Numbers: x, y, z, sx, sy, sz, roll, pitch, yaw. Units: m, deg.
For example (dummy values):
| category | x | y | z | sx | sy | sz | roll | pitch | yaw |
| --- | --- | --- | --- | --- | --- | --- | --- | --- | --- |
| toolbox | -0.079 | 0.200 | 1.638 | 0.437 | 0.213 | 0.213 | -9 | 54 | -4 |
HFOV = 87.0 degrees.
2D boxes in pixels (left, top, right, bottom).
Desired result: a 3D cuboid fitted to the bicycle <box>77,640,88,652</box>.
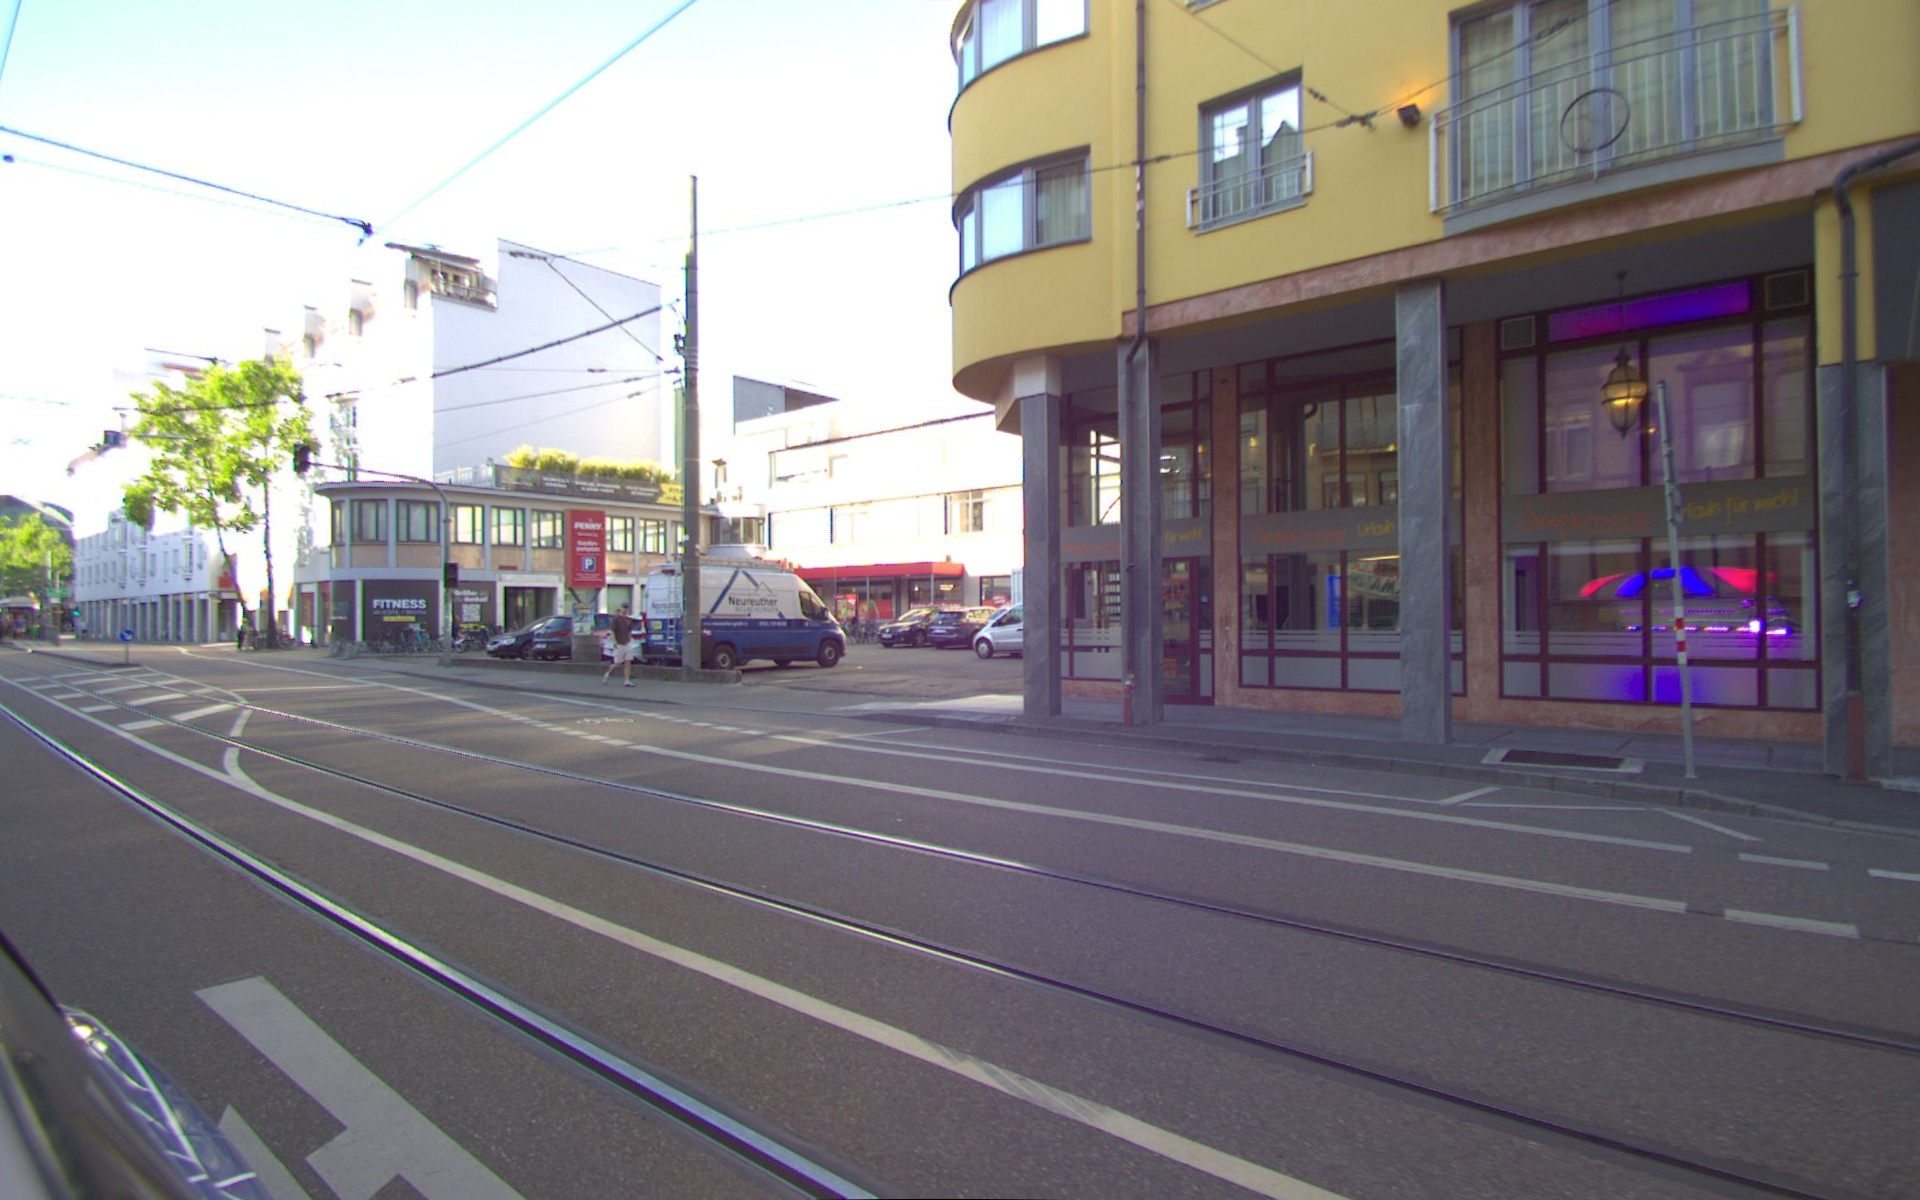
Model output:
| category | x | y | z | sx | sy | sz | roll | pitch | yaw |
| --- | --- | --- | --- | --- | --- | --- | --- | --- | --- |
| bicycle | -76.074 | 3.963 | 87.723 | 1.726 | 0.996 | 0.511 | -1 | 0 | 41 |

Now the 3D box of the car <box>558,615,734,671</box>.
| category | x | y | z | sx | sy | sz | roll | pitch | yaw |
| --- | --- | --- | --- | --- | --- | --- | --- | --- | --- |
| car | -8.947 | 1.203 | 29.127 | 1.878 | 1.487 | 4.541 | -2 | -2 | 40 |

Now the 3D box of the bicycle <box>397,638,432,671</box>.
| category | x | y | z | sx | sy | sz | roll | pitch | yaw |
| --- | --- | --- | --- | --- | --- | --- | --- | --- | --- |
| bicycle | -20.647 | 2.064 | 38.301 | 1.828 | 1.196 | 0.444 | -2 | -2 | 38 |

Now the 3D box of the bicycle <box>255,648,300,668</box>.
| category | x | y | z | sx | sy | sz | roll | pitch | yaw |
| --- | --- | --- | --- | --- | --- | --- | --- | --- | --- |
| bicycle | -34.799 | 2.938 | 51.620 | 1.824 | 0.919 | 0.389 | -1 | -2 | -45 |

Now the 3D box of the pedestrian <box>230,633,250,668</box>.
| category | x | y | z | sx | sy | sz | roll | pitch | yaw |
| --- | --- | --- | --- | --- | --- | --- | --- | --- | --- |
| pedestrian | -36.364 | 2.547 | 51.127 | 0.621 | 1.729 | 0.828 | 0 | -1 | -22 |

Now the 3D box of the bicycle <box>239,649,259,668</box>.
| category | x | y | z | sx | sy | sz | roll | pitch | yaw |
| --- | --- | --- | --- | --- | --- | --- | --- | --- | --- |
| bicycle | -35.734 | 2.932 | 50.856 | 1.850 | 0.919 | 0.384 | -1 | 0 | 42 |

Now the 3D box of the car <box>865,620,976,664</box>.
| category | x | y | z | sx | sy | sz | roll | pitch | yaw |
| --- | --- | --- | --- | --- | --- | --- | --- | --- | --- |
| car | -1.398 | 1.500 | 37.217 | 1.997 | 1.519 | 3.949 | -1 | -1 | 38 |

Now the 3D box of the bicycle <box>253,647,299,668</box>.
| category | x | y | z | sx | sy | sz | roll | pitch | yaw |
| --- | --- | --- | --- | --- | --- | --- | --- | --- | --- |
| bicycle | -34.282 | 2.859 | 50.734 | 1.824 | 0.919 | 0.389 | -1 | 0 | -45 |

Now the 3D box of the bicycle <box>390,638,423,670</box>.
| category | x | y | z | sx | sy | sz | roll | pitch | yaw |
| --- | --- | --- | --- | --- | --- | --- | --- | --- | --- |
| bicycle | -20.780 | 2.016 | 37.964 | 1.830 | 1.196 | 0.436 | -2 | -2 | 40 |

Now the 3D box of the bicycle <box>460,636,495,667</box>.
| category | x | y | z | sx | sy | sz | roll | pitch | yaw |
| --- | --- | --- | --- | --- | --- | --- | --- | --- | --- |
| bicycle | -18.819 | 2.011 | 39.472 | 1.828 | 1.196 | 0.444 | -2 | -2 | 38 |

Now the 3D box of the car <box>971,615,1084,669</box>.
| category | x | y | z | sx | sy | sz | roll | pitch | yaw |
| --- | --- | --- | --- | --- | --- | --- | --- | --- | --- |
| car | 2.369 | 1.389 | 34.541 | 1.997 | 1.713 | 3.949 | -1 | -1 | 38 |

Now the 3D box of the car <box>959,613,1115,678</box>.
| category | x | y | z | sx | sy | sz | roll | pitch | yaw |
| --- | --- | --- | --- | --- | --- | --- | --- | --- | --- |
| car | 2.197 | 1.277 | 29.394 | 4.116 | 1.749 | 1.974 | -2 | -2 | 39 |

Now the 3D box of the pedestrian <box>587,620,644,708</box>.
| category | x | y | z | sx | sy | sz | roll | pitch | yaw |
| --- | --- | --- | --- | --- | --- | --- | --- | --- | --- |
| pedestrian | -7.473 | 1.371 | 21.938 | 0.908 | 1.846 | 0.825 | -2 | -2 | 40 |

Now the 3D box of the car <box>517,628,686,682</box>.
| category | x | y | z | sx | sy | sz | roll | pitch | yaw |
| --- | --- | --- | --- | --- | --- | --- | --- | --- | --- |
| car | -10.803 | 1.624 | 30.769 | 1.878 | 1.487 | 4.541 | -2 | -2 | 40 |

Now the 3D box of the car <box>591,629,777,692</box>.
| category | x | y | z | sx | sy | sz | roll | pitch | yaw |
| --- | --- | --- | --- | --- | --- | --- | --- | --- | --- |
| car | -7.282 | 1.554 | 27.066 | 1.878 | 1.487 | 4.541 | -2 | -2 | 40 |

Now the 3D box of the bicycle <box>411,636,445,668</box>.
| category | x | y | z | sx | sy | sz | roll | pitch | yaw |
| --- | --- | --- | --- | --- | --- | --- | --- | --- | --- |
| bicycle | -20.267 | 1.967 | 38.564 | 1.828 | 1.196 | 0.438 | -2 | -2 | 38 |

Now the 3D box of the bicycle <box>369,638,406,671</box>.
| category | x | y | z | sx | sy | sz | roll | pitch | yaw |
| --- | --- | --- | --- | --- | --- | --- | --- | --- | --- |
| bicycle | -21.414 | 2.046 | 37.837 | 1.827 | 1.196 | 0.441 | -2 | -2 | 35 |

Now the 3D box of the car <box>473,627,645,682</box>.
| category | x | y | z | sx | sy | sz | roll | pitch | yaw |
| --- | --- | --- | --- | --- | --- | --- | --- | --- | --- |
| car | -12.823 | 1.709 | 32.610 | 1.878 | 1.595 | 4.844 | -2 | -2 | 40 |

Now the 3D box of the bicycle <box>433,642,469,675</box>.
| category | x | y | z | sx | sy | sz | roll | pitch | yaw |
| --- | --- | --- | --- | --- | --- | --- | --- | --- | --- |
| bicycle | -19.292 | 2.205 | 38.347 | 1.828 | 1.196 | 0.444 | -2 | -2 | 38 |

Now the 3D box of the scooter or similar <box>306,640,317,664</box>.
| category | x | y | z | sx | sy | sz | roll | pitch | yaw |
| --- | --- | --- | --- | --- | --- | --- | --- | --- | --- |
| scooter or similar | -32.559 | 2.602 | 50.783 | 0.330 | 1.120 | 1.184 | 0 | -1 | -27 |

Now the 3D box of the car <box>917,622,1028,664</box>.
| category | x | y | z | sx | sy | sz | roll | pitch | yaw |
| --- | --- | --- | --- | --- | --- | --- | --- | --- | --- |
| car | 0.512 | 1.484 | 36.054 | 1.997 | 1.364 | 3.949 | -1 | -1 | 38 |

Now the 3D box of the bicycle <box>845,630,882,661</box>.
| category | x | y | z | sx | sy | sz | roll | pitch | yaw |
| --- | --- | --- | --- | --- | --- | --- | --- | --- | --- |
| bicycle | -3.828 | 1.783 | 40.077 | 0.426 | 1.196 | 1.833 | 1 | -1 | -43 |

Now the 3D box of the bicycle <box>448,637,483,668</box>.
| category | x | y | z | sx | sy | sz | roll | pitch | yaw |
| --- | --- | --- | --- | --- | --- | --- | --- | --- | --- |
| bicycle | -19.007 | 2.010 | 38.862 | 1.828 | 1.196 | 0.444 | -2 | -2 | 38 |

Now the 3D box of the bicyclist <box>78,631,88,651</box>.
| category | x | y | z | sx | sy | sz | roll | pitch | yaw |
| --- | --- | --- | --- | --- | --- | --- | --- | --- | --- |
| bicyclist | -76.030 | 3.572 | 87.718 | 0.807 | 1.713 | 0.508 | -1 | 0 | 41 |

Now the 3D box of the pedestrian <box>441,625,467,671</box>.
| category | x | y | z | sx | sy | sz | roll | pitch | yaw |
| --- | --- | --- | --- | --- | --- | --- | --- | --- | --- |
| pedestrian | -19.199 | 1.809 | 38.405 | 0.682 | 1.710 | 0.674 | -2 | -2 | 38 |

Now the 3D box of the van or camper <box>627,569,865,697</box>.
| category | x | y | z | sx | sy | sz | roll | pitch | yaw |
| --- | --- | --- | --- | --- | --- | --- | --- | --- | --- |
| van or camper | -5.259 | 0.711 | 25.585 | 2.314 | 2.848 | 5.549 | -2 | 0 | 41 |
